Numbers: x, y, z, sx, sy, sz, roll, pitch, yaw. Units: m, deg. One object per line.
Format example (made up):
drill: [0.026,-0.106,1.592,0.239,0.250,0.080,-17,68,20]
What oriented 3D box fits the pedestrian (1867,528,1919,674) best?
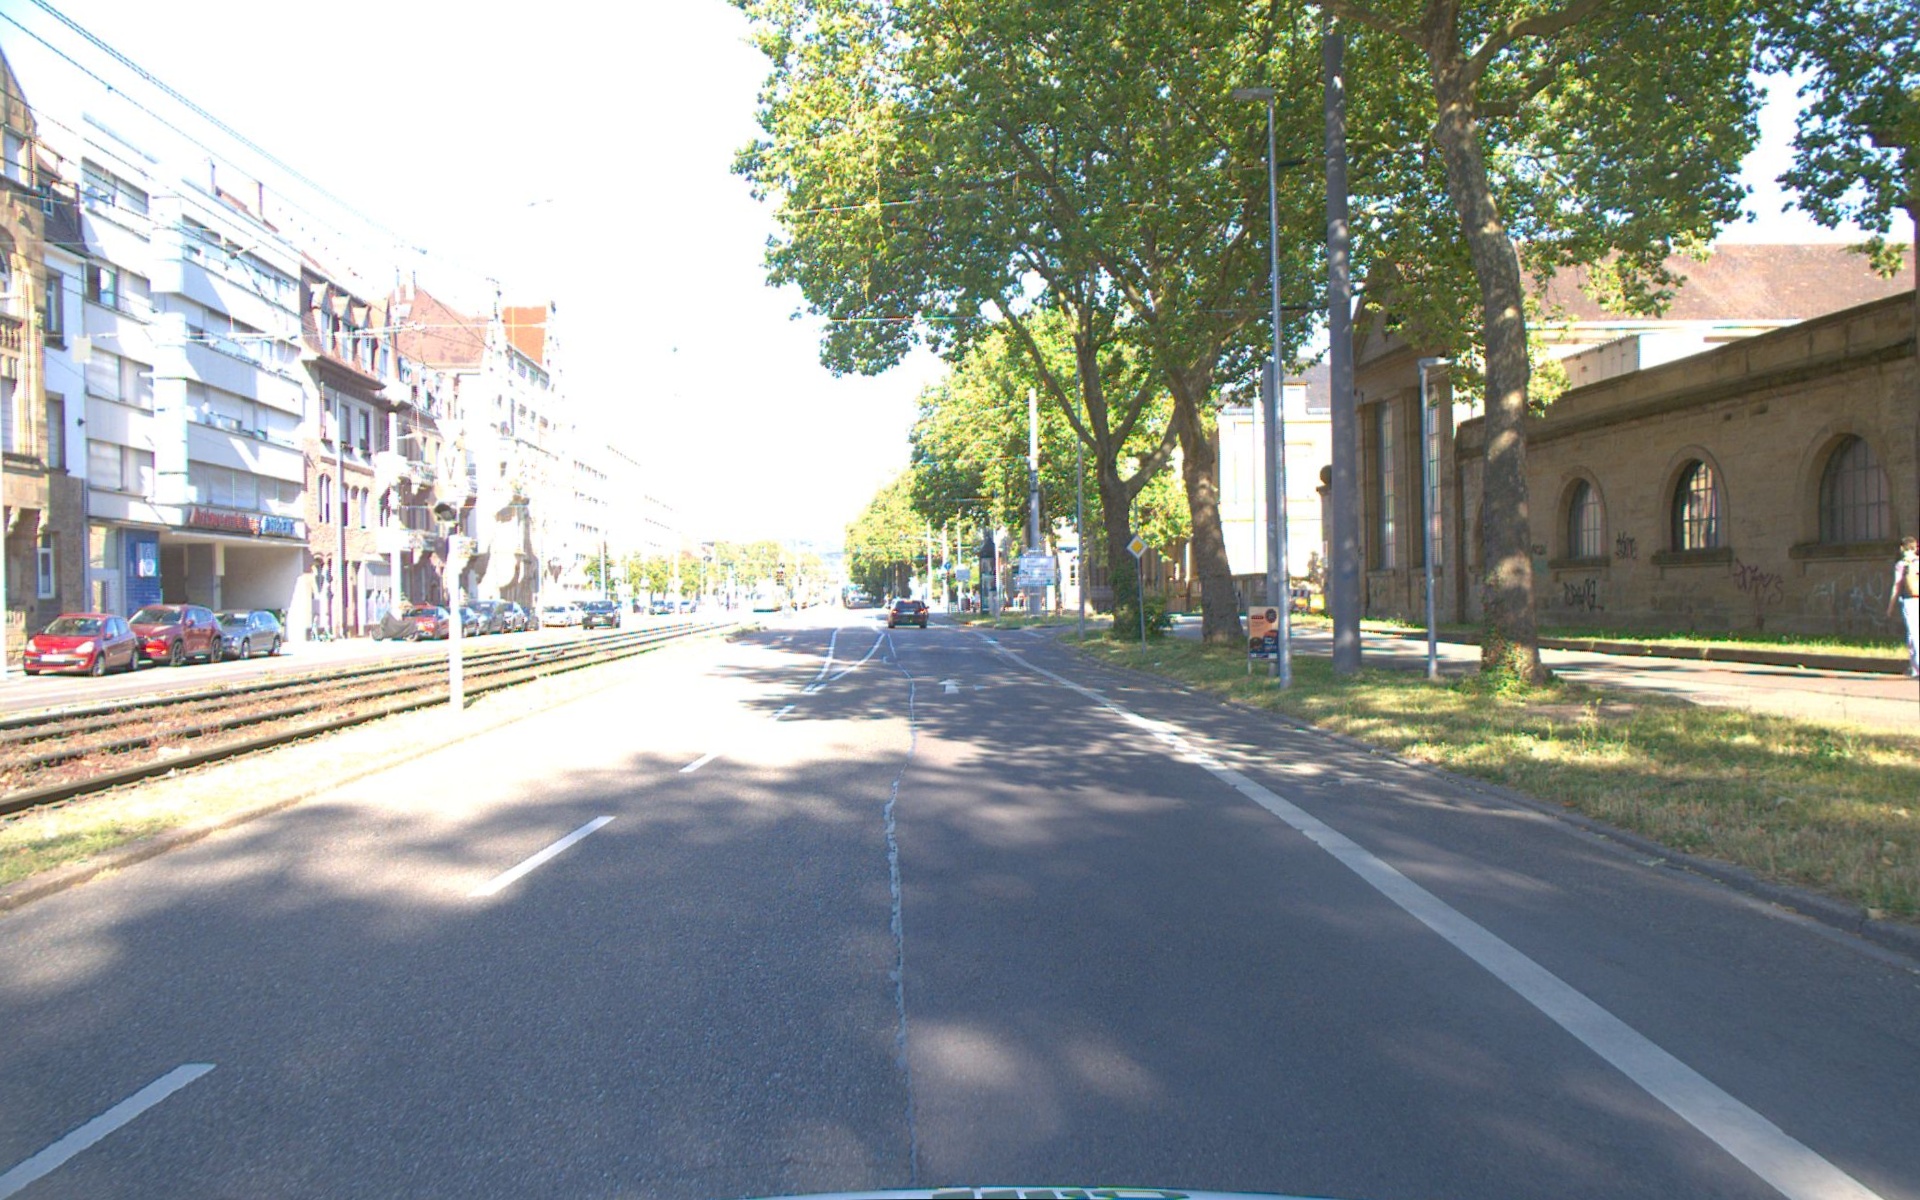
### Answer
pedestrian: [11.576,0.001,20.104,0.596,1.710,0.635,-6,1,-6]

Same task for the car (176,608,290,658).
car: [-22.813,1.012,52.079,1.797,1.415,4.678,-1,0,-4]

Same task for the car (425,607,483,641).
car: [-24.361,1.127,79.782,1.759,1.536,3.997,1,0,-4]

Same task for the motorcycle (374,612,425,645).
motorcycle: [-24.149,1.236,71.289,2.037,1.350,0.836,1,0,-20]

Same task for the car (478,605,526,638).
car: [-25.047,1.158,90.576,1.653,1.681,4.196,1,0,-4]

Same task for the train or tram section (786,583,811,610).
train or tram section: [-22.261,-0.483,227.704,2.773,3.511,9.046,-2,1,-8]

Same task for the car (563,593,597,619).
car: [-27.337,0.402,119.083,1.759,1.749,4.181,1,0,-5]

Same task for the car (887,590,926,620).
car: [-2.712,0.247,83.091,1.797,1.415,4.155,-1,0,-4]

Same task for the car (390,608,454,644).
car: [-24.189,1.168,74.528,1.759,1.485,4.262,1,0,-5]

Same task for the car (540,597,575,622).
car: [-26.252,0.605,107.951,1.761,1.536,3.993,1,0,-8]

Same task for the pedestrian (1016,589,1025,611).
pedestrian: [4.831,-0.016,131.874,0.575,1.758,0.651,0,0,11]

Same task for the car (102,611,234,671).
car: [-22.305,1.113,46.775,1.797,1.585,4.350,0,0,-3]

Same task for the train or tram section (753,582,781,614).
train or tram section: [-22.839,-0.269,195.987,2.769,3.511,9.058,-2,1,-3]

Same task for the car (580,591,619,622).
car: [-20.382,0.364,93.589,1.604,1.629,4.154,-3,1,-6]

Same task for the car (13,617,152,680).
car: [-21.956,1.191,41.552,1.799,1.415,4.028,1,0,-8]

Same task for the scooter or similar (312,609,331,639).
scooter or similar: [-27.125,1.009,70.274,0.383,1.226,1.199,1,0,-3]

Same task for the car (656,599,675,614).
car: [-32.881,0.704,185.008,1.760,1.536,3.995,-2,1,-6]

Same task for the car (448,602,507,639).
car: [-24.878,1.034,85.360,1.758,1.784,4.454,1,0,-1]

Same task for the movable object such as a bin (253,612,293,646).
movable object such as a bin: [-28.476,1.200,68.559,1.386,1.395,0.634,-1,0,-10]
